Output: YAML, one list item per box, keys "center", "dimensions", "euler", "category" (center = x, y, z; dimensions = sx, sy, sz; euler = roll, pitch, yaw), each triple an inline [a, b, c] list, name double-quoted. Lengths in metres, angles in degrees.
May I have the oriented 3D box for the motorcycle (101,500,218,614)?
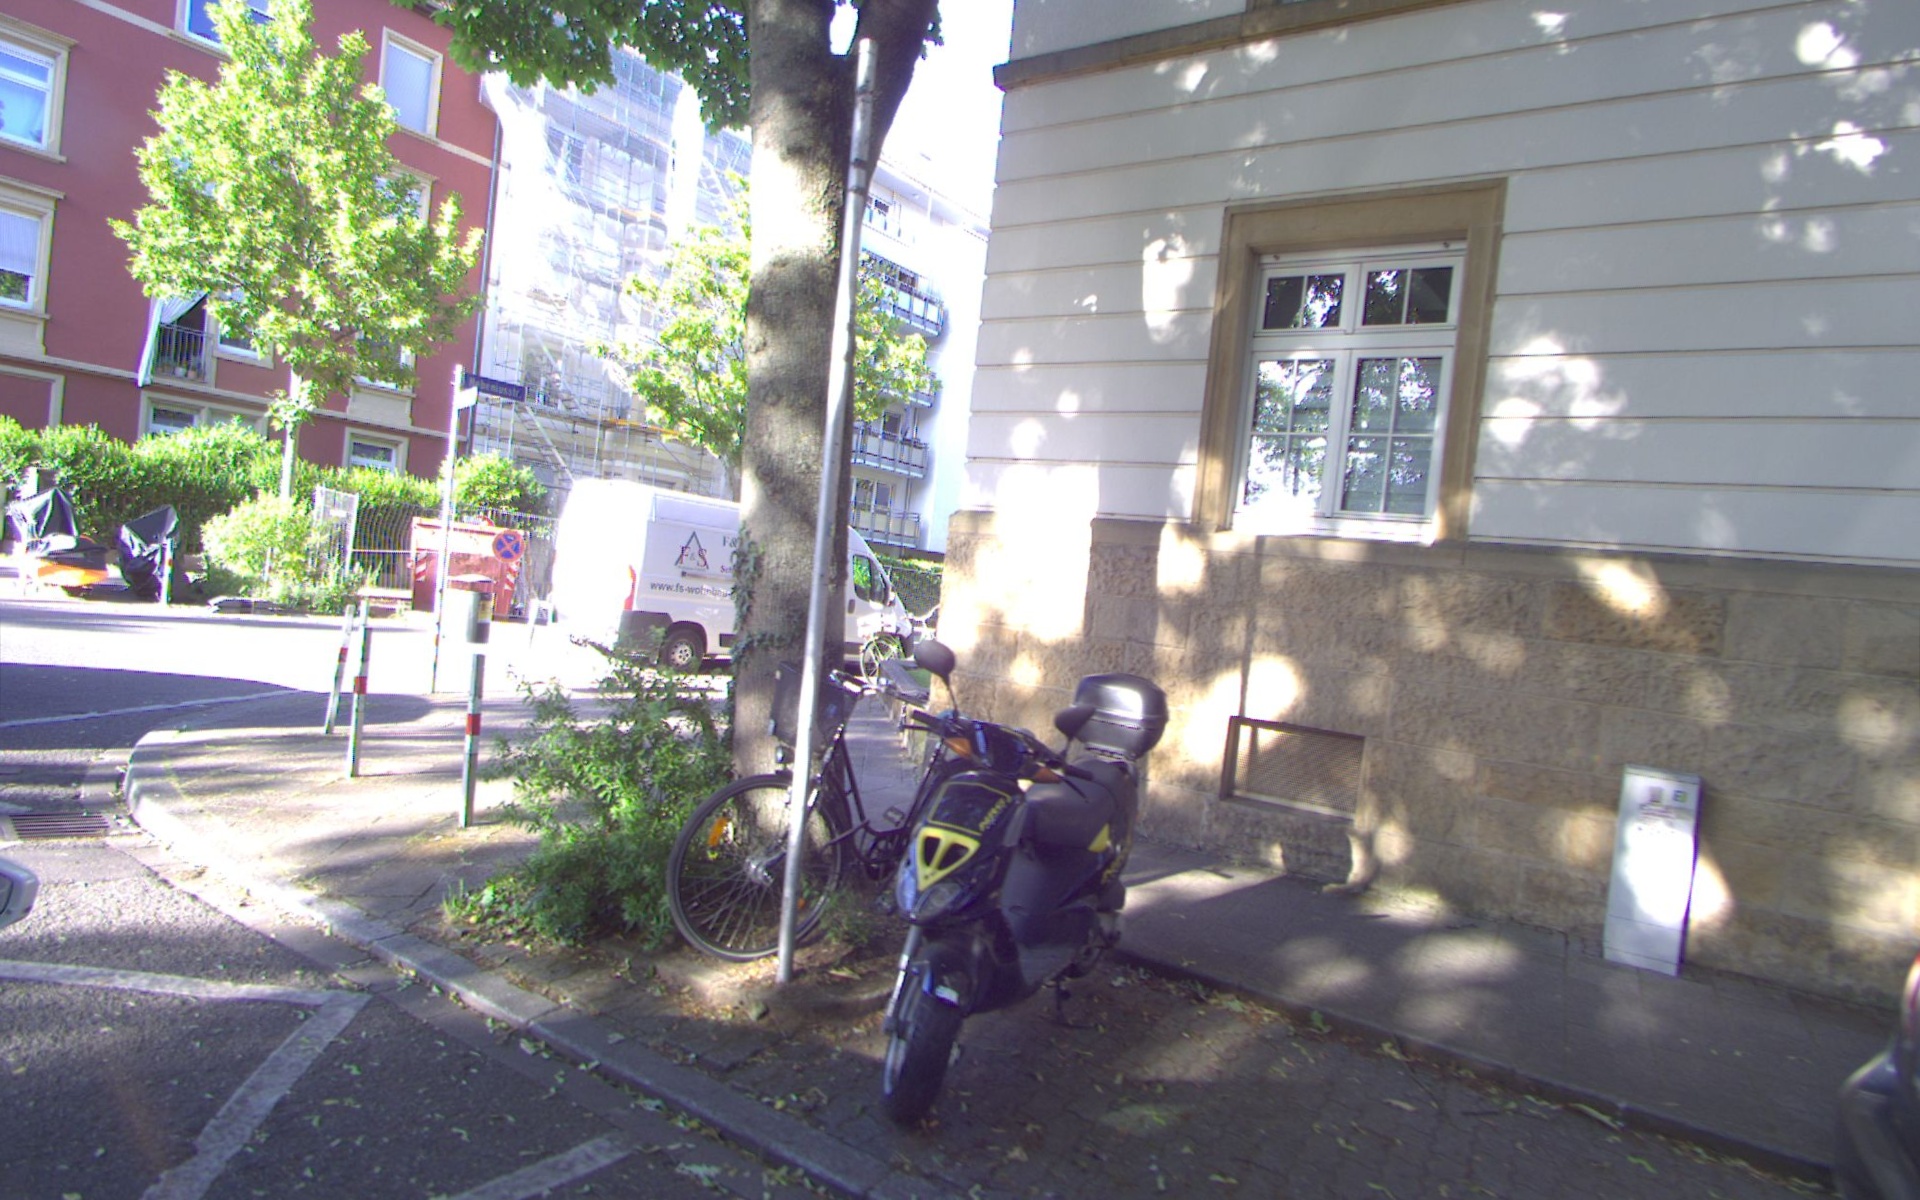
- center: [-12.078, -0.672, 15.132]
  dimensions: [2.519, 1.423, 0.825]
  euler: [9, 3, 40]
  category: "motorcycle"

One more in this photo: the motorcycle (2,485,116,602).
- center: [-13.122, -0.843, 14.627]
  dimensions: [2.162, 1.423, 1.017]
  euler: [10, 3, 44]
  category: "motorcycle"

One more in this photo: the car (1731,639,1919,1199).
- center: [3.647, 1.138, 0.869]
  dimensions: [4.333, 1.570, 1.791]
  euler: [9, 2, 29]
  category: "car"

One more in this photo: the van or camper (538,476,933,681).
- center: [-3.203, -0.184, 15.538]
  dimensions: [2.114, 2.477, 5.578]
  euler: [10, 2, 41]
  category: "van or camper"

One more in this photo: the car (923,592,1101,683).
- center: [1.112, 0.787, 20.199]
  dimensions: [1.538, 1.495, 3.535]
  euler: [8, 2, 42]
  category: "car"

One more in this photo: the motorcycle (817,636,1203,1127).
- center: [0.264, 0.802, 3.533]
  dimensions: [0.609, 1.283, 1.503]
  euler: [7, 2, 31]
  category: "motorcycle"

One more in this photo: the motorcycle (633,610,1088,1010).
- center: [-0.309, 0.751, 4.121]
  dimensions: [1.844, 1.283, 0.498]
  euler: [4, 3, -44]
  category: "motorcycle"
